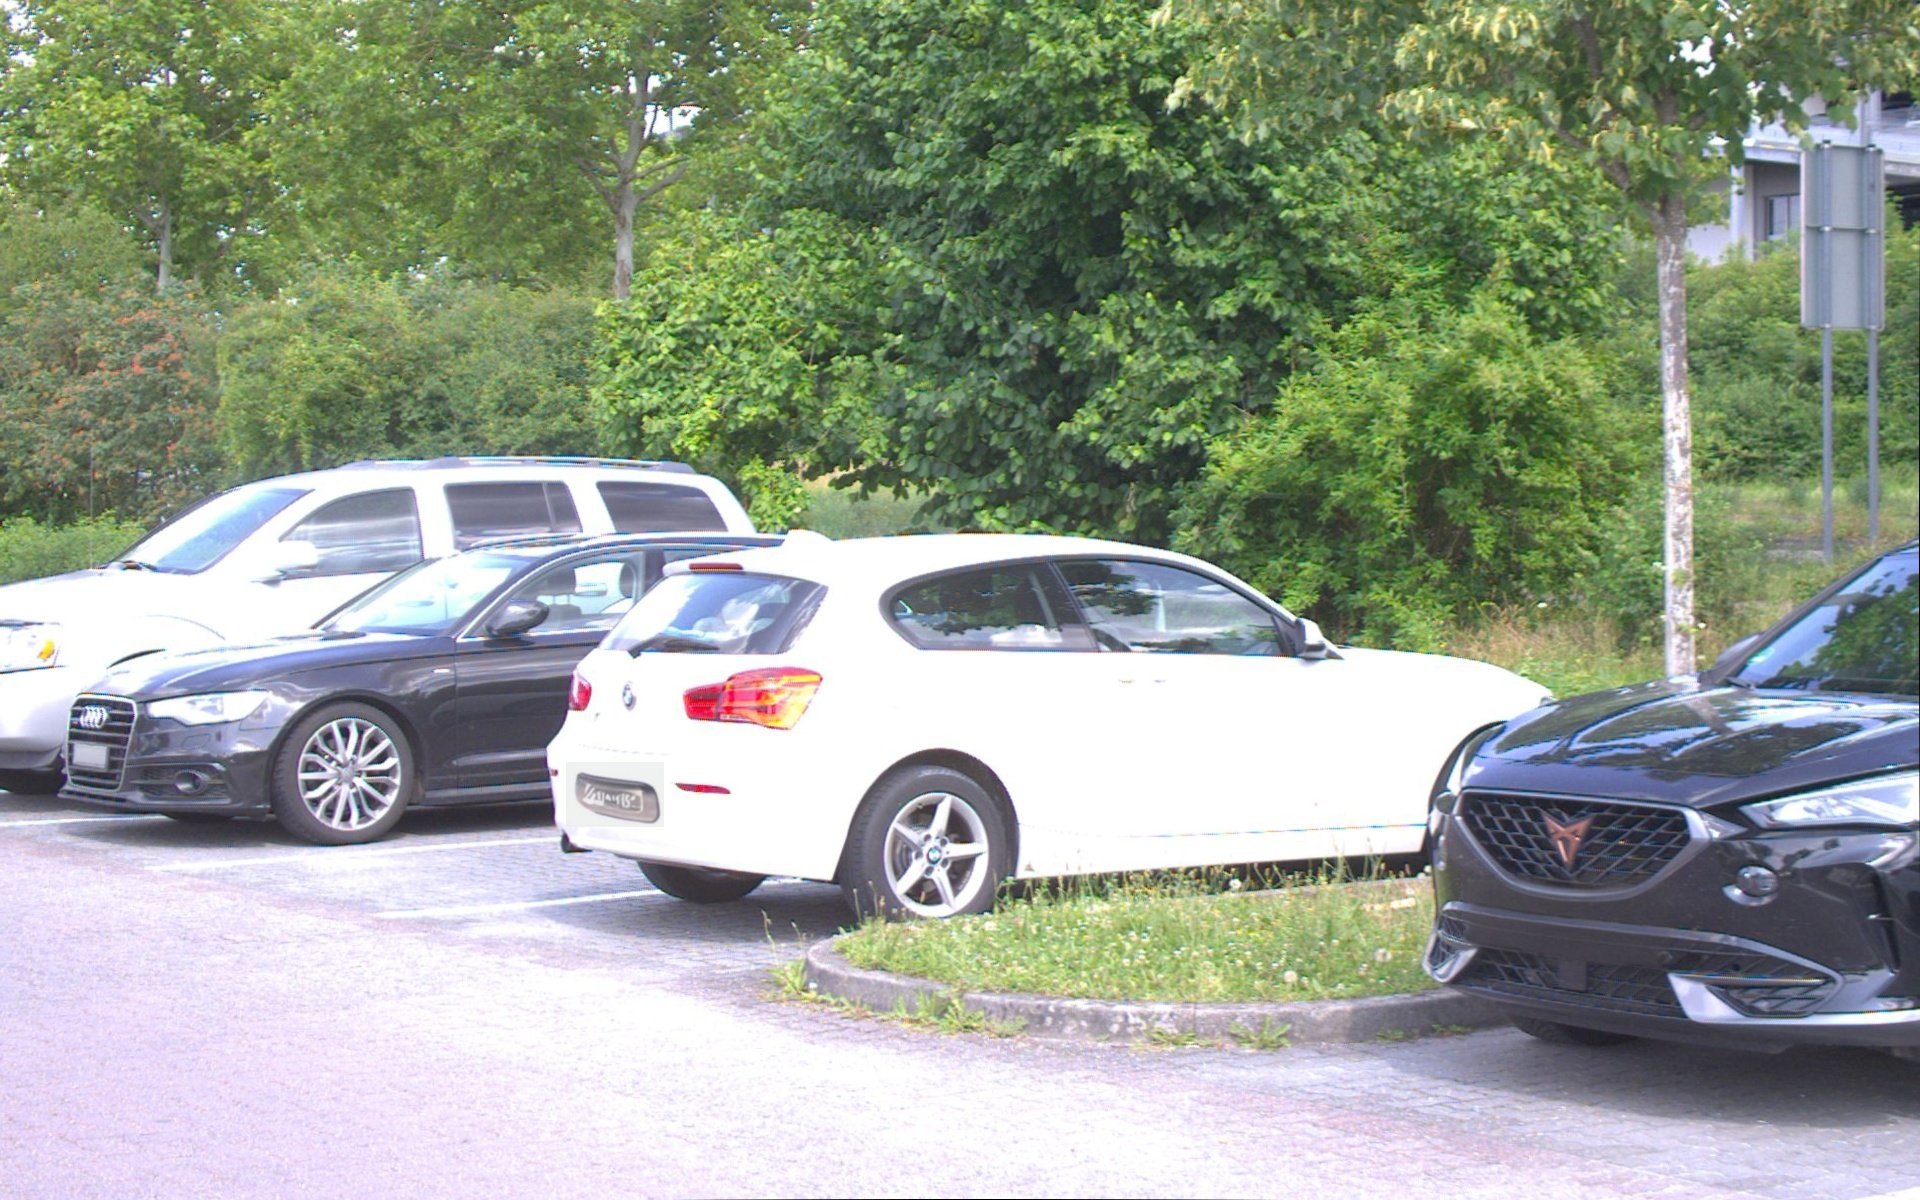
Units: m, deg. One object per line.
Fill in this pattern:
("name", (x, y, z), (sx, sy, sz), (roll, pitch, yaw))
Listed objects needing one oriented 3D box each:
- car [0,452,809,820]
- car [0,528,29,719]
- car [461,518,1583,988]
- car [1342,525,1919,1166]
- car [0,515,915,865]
("car", (-3.561, 0.105, 19.631), (5.132, 1.836, 1.990), (-2, 2, -36))
("car", (-9.773, 0.236, 26.542), (4.640, 1.499, 1.784), (-2, 2, -36))
("car", (0.304, 0.474, 13.328), (4.068, 1.504, 1.690), (-2, 2, -32))
("car", (3.254, 0.496, 9.707), (4.230, 1.405, 1.733), (-2, 2, -35))
("car", (-2.704, 0.344, 17.108), (4.710, 1.446, 1.839), (-2, 2, -34))
